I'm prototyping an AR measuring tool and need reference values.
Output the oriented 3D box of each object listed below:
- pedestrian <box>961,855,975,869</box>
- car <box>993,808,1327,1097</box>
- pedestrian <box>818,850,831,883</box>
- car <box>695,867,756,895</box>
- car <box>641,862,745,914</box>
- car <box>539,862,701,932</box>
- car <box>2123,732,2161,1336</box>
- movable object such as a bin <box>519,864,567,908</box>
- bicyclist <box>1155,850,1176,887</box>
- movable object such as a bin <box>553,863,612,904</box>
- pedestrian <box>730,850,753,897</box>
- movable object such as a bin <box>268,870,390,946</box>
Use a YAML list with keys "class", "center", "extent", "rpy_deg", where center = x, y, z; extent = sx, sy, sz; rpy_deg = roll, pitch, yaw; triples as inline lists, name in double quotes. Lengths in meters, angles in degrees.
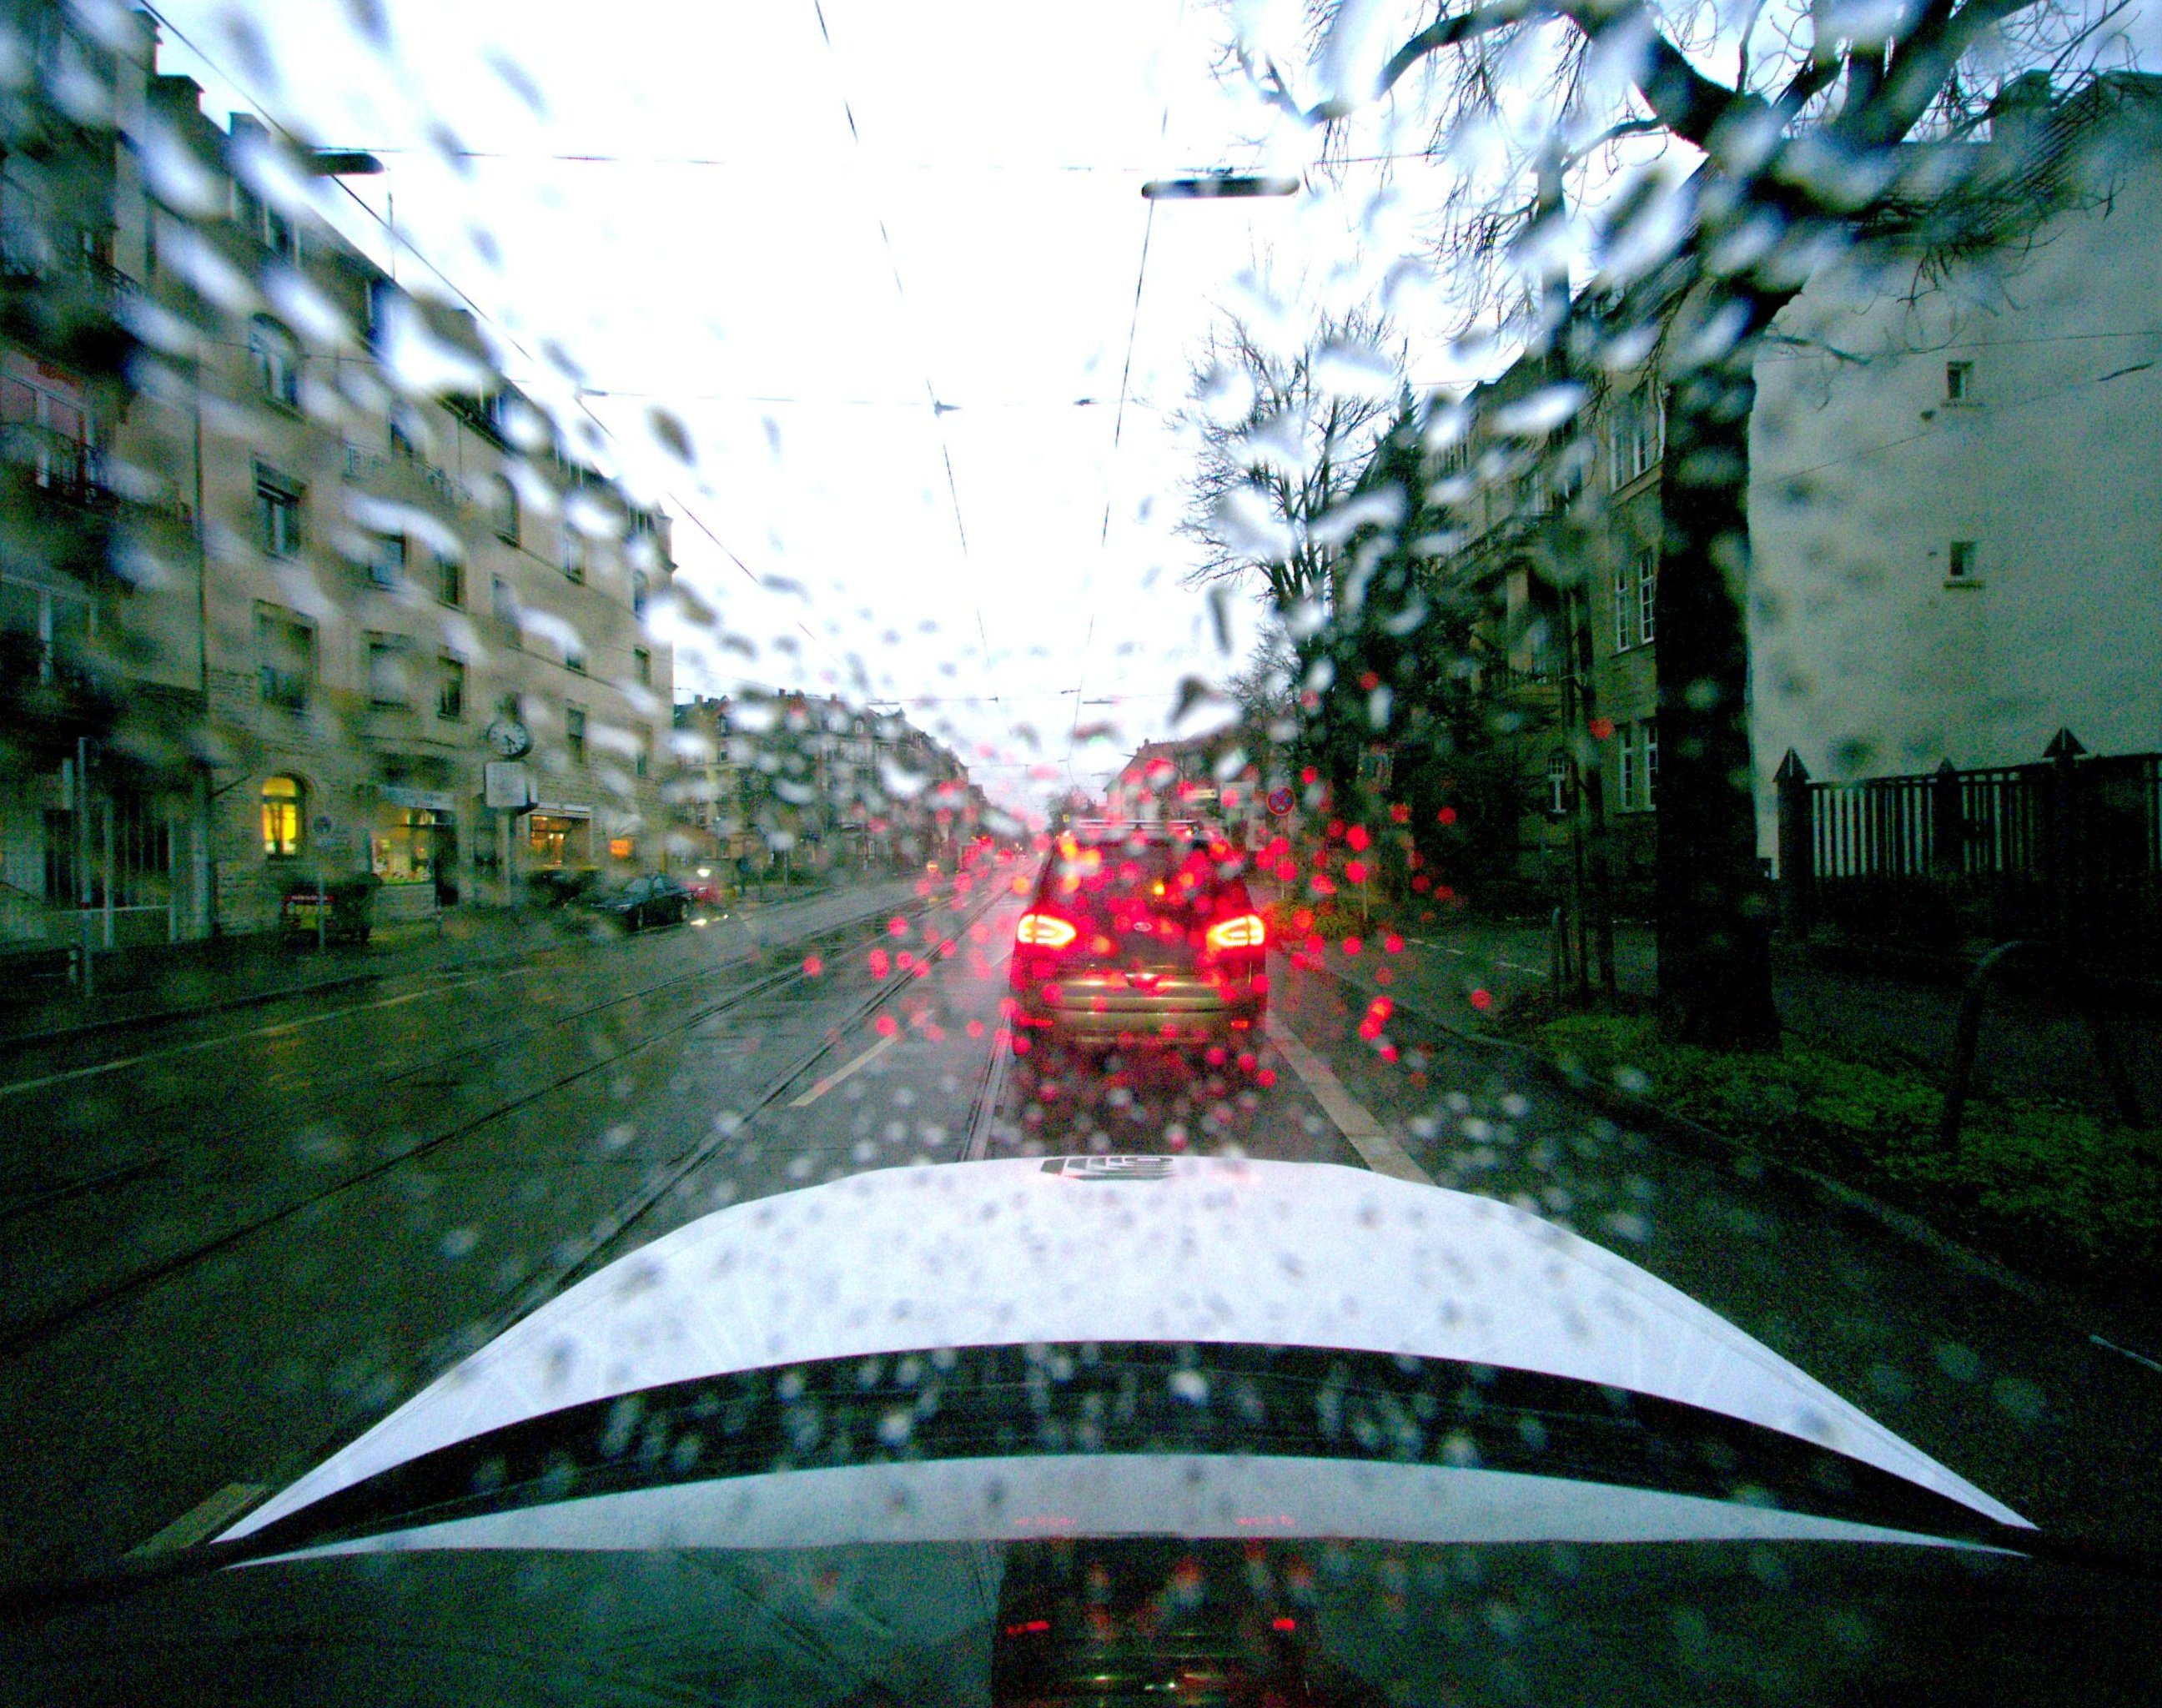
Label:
- class: "pedestrian"
  center: [-9.463, 0.683, 68.466]
  extent: [1.044, 1.200, 0.884]
  rpy_deg: [-1, -1, -1]
- class: "car"
  center: [0.514, 0.614, 7.463]
  extent: [2.097, 1.816, 4.660]
  rpy_deg: [0, 0, 0]
- class: "pedestrian"
  center: [-15.895, 0.746, 50.466]
  extent: [0.707, 2.013, 0.656]
  rpy_deg: [-1, 0, -21]
- class: "car"
  center: [-22.704, 1.695, 51.998]
  extent: [3.949, 1.673, 2.035]
  rpy_deg: [-1, 0, 40]
- class: "car"
  center: [-13.380, 1.121, 28.388]
  extent: [2.035, 1.551, 4.022]
  rpy_deg: [2, 0, -7]
- class: "car"
  center: [-12.483, 1.094, 22.471]
  extent: [1.982, 1.645, 4.623]
  rpy_deg: [3, -1, -4]
- class: "car"
  center: [4.430, 0.536, 0.153]
  extent: [2.025, 1.875, 4.959]
  rpy_deg: [-2, 0, -2]
- class: "movable object such as a bin"
  center: [-17.862, 1.053, 27.048]
  extent: [0.896, 1.377, 1.006]
  rpy_deg: [-1, 0, -2]
- class: "bicyclist"
  center: [3.860, 0.667, 37.377]
  extent: [0.716, 1.662, 1.054]
  rpy_deg: [2, 0, -6]
- class: "movable object such as a bin"
  center: [-17.400, 1.024, 28.456]
  extent: [1.290, 1.367, 1.251]
  rpy_deg: [-1, 0, -2]
- class: "pedestrian"
  center: [-14.989, 0.854, 35.967]
  extent: [0.748, 2.014, 0.652]
  rpy_deg: [-1, -1, 34]
- class: "movable object such as a bin"
  center: [-15.103, 1.065, 16.401]
  extent: [1.264, 1.420, 1.249]
  rpy_deg: [-1, 0, -2]
